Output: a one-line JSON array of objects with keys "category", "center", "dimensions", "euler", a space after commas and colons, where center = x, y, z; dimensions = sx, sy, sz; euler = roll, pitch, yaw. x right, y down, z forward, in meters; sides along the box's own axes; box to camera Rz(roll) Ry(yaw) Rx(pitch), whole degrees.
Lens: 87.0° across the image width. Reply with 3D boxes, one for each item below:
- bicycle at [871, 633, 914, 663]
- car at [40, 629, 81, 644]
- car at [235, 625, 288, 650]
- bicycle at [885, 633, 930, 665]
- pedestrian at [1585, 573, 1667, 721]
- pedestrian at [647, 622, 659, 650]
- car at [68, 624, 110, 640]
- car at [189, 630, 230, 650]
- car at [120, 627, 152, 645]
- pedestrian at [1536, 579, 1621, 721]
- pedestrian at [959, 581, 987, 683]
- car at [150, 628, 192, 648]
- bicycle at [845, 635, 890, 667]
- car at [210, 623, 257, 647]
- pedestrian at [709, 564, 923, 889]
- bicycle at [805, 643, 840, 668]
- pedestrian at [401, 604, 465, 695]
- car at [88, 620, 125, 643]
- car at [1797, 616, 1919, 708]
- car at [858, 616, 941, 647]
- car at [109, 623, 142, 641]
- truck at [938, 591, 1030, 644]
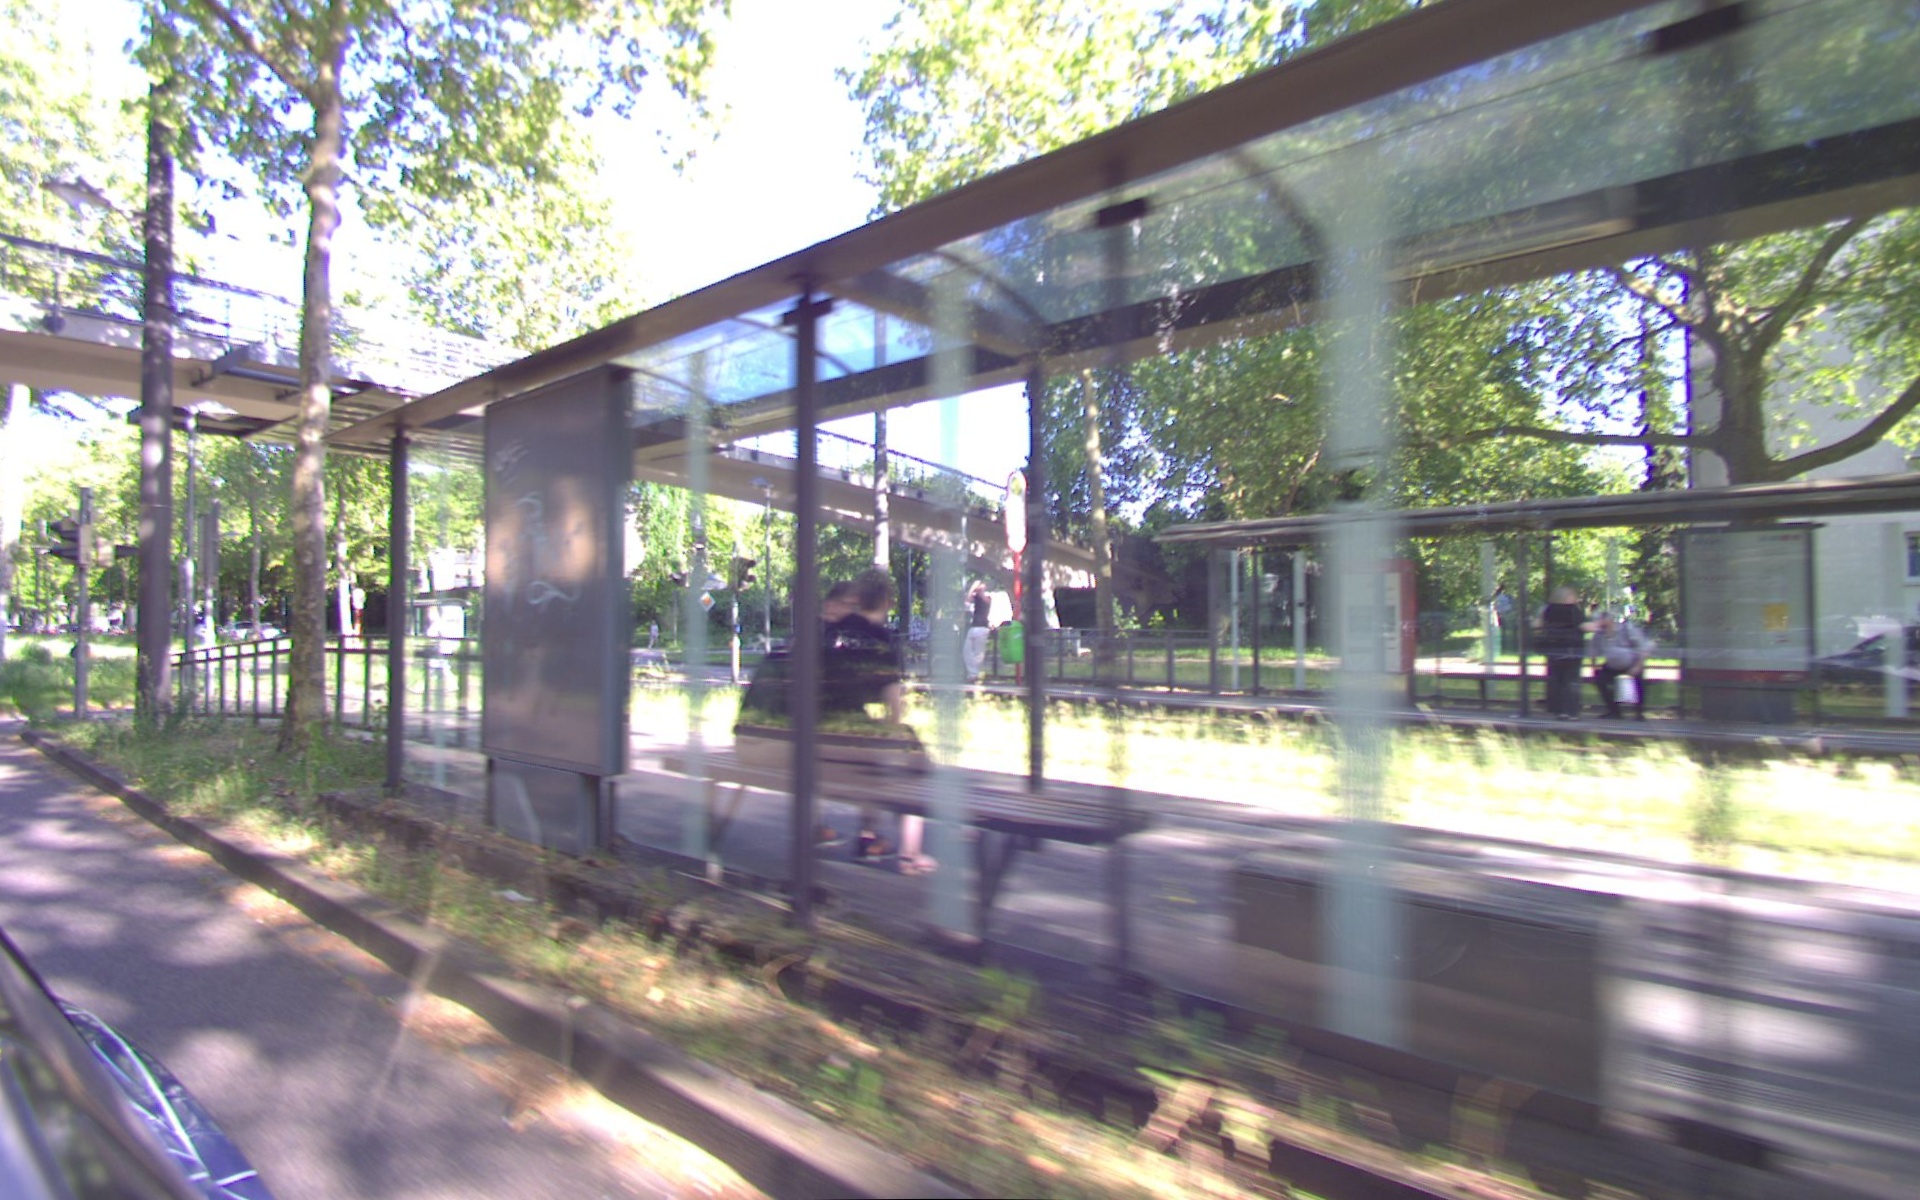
[{"category": "bicycle", "center": [-2.367, 1.652, 35.245], "dimensions": [1.686, 1.016, 0.429], "euler": [-2, -1, 41]}, {"category": "car", "center": [-101.607, 4.128, 114.336], "dimensions": [1.857, 1.579, 4.011], "euler": [-1, 0, -14]}, {"category": "car", "center": [-48.628, 2.581, 70.407], "dimensions": [4.624, 1.499, 1.879], "euler": [-1, 2, 40]}, {"category": "bicycle", "center": [-1.781, 1.644, 34.188], "dimensions": [1.686, 1.016, 0.429], "euler": [-2, -1, 41]}, {"category": "pedestrian", "center": [7.741, 0.533, 11.764], "dimensions": [0.715, 1.647, 0.722], "euler": [-1, -2, 39]}, {"category": "pedestrian", "center": [-17.003, 1.981, 56.015], "dimensions": [0.526, 1.502, 0.589], "euler": [-1, 0, -24]}, {"category": "car", "center": [-94.695, 3.460, 110.054], "dimensions": [1.857, 1.579, 4.011], "euler": [-1, 0, -14]}, {"category": "car", "center": [-58.984, 3.122, 79.545], "dimensions": [4.021, 1.429, 1.701], "euler": [-1, 2, 40]}, {"category": "car", "center": [-75.087, 3.265, 92.186], "dimensions": [3.566, 1.499, 1.526], "euler": [-1, 2, 40]}, {"category": "pedestrian", "center": [6.945, 0.554, 11.364], "dimensions": [0.684, 1.525, 0.635], "euler": [-2, -3, 44]}, {"category": "pedestrian", "center": [0.234, 0.565, 18.078], "dimensions": [0.477, 1.784, 0.503], "euler": [-1, 0, 1]}, {"category": "car", "center": [-67.020, 3.198, 85.935], "dimensions": [4.174, 1.499, 1.821], "euler": [-1, 2, 38]}, {"category": "bicycle", "center": [-3.068, 1.660, 33.427], "dimensions": [1.686, 1.016, 0.429], "euler": [-2, -1, 41]}, {"category": "car", "center": [-53.551, 2.554, 74.589], "dimensions": [4.186, 1.608, 1.797], "euler": [-1, 2, 40]}, {"category": "pedestrian", "center": [-0.613, 0.495, 4.402], "dimensions": [0.587, 1.262, 0.727], "euler": [-1, -1, 35]}, {"category": "bicycle", "center": [-4.452, 1.785, 32.755], "dimensions": [1.173, 0.784, 0.429], "euler": [-2, -1, 41]}, {"category": "pedestrian", "center": [-10.188, 0.929, 19.551], "dimensions": [1.047, 1.687, 0.718], "euler": [-1, 0, 38]}, {"category": "car", "center": [-84.313, 3.104, 99.977], "dimensions": [4.274, 2.072, 1.963], "euler": [-1, 2, 39]}, {"category": "car", "center": [16.823, 1.054, 17.262], "dimensions": [1.677, 1.439, 4.197], "euler": [-2, 0, 3]}, {"category": "car", "center": [-3.956, 2.031, 67.532], "dimensions": [2.220, 1.963, 6.080], "euler": [-1, -1, 35]}, {"category": "car", "center": [-79.042, 3.007, 95.872], "dimensions": [3.814, 1.507, 1.732], "euler": [-1, 2, 40]}, {"category": "truck", "center": [1.918, 1.298, 75.697], "dimensions": [2.740, 3.779, 8.416], "euler": [-1, -1, 34]}]
